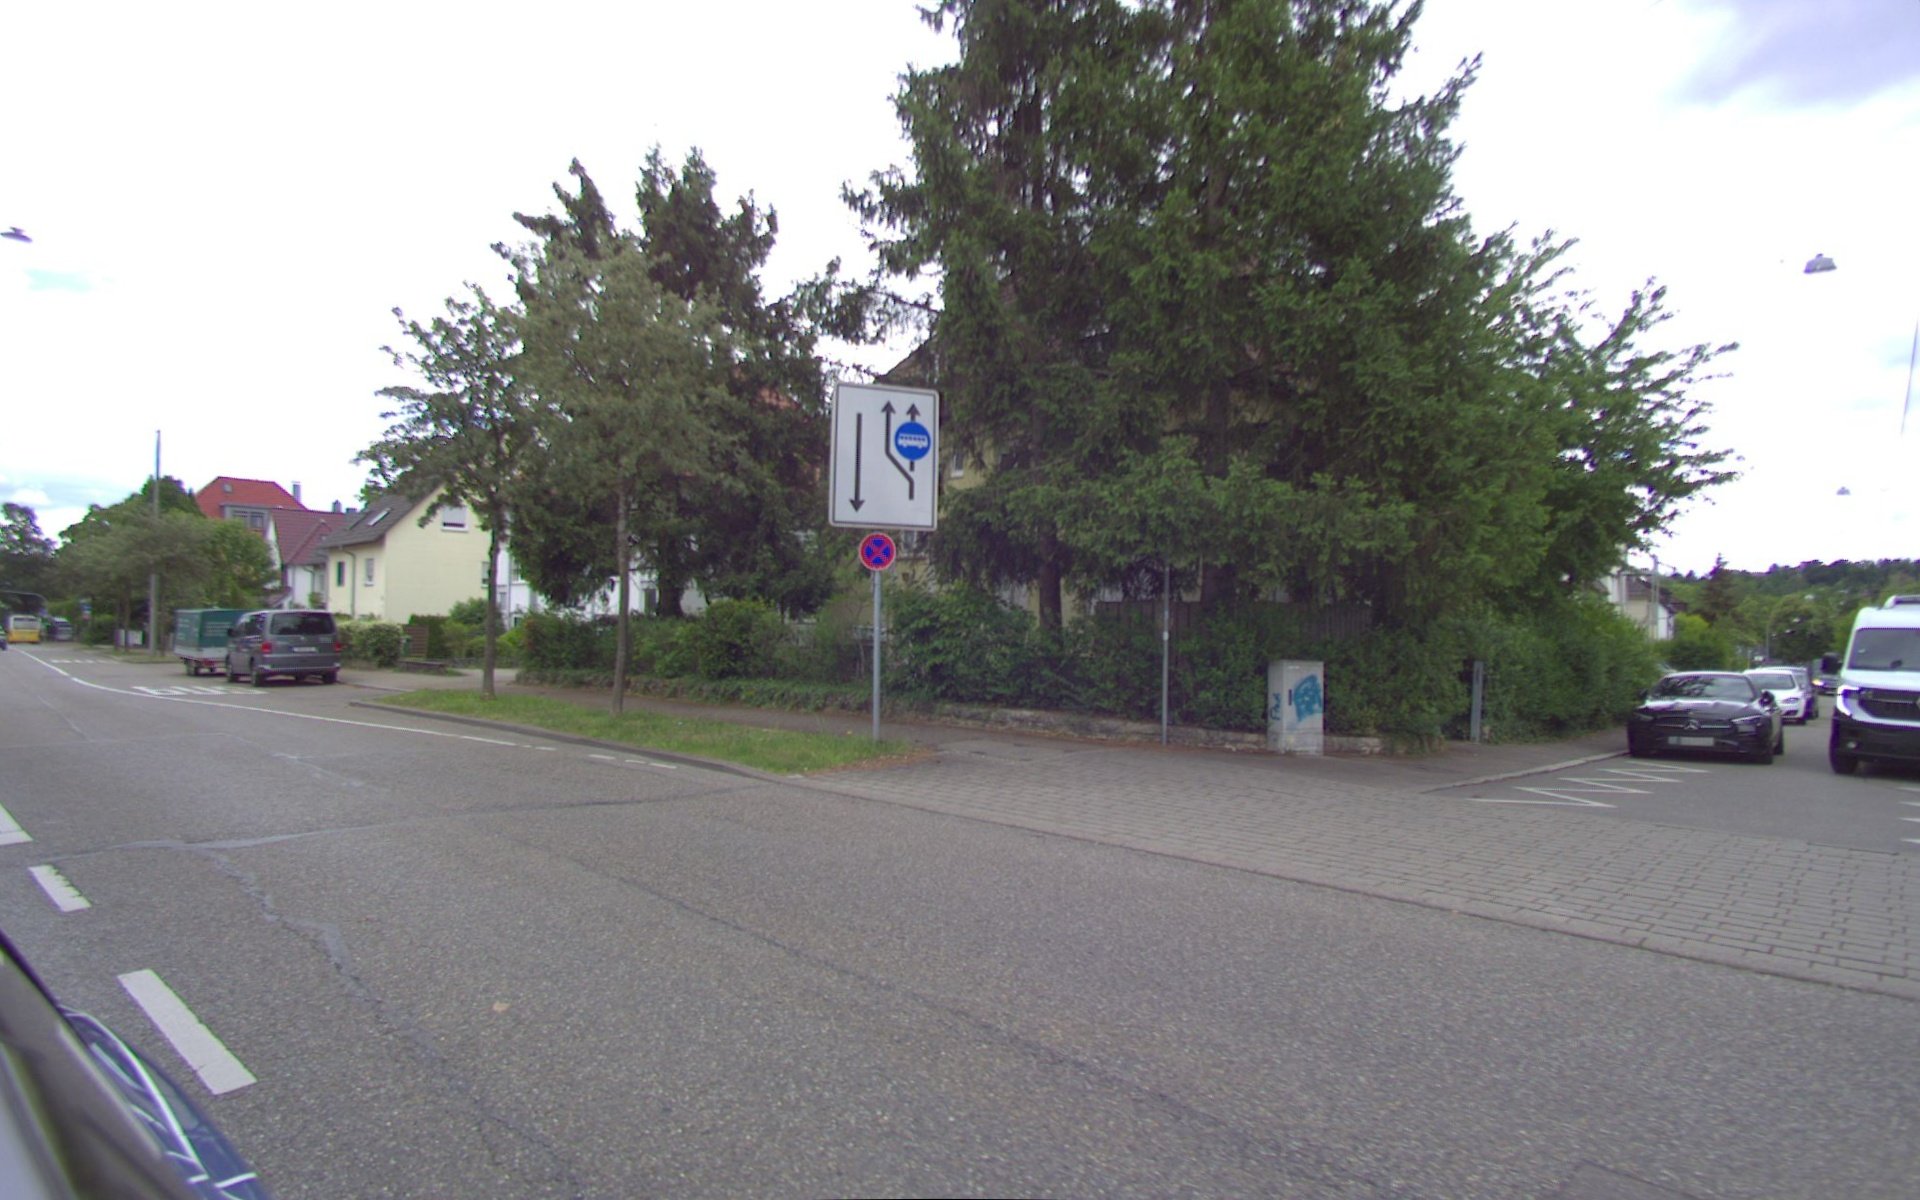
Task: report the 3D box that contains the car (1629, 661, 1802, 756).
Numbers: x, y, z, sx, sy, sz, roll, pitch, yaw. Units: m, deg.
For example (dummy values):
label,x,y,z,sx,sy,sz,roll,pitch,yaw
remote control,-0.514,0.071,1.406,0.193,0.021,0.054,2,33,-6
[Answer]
label,x,y,z,sx,sy,sz,roll,pitch,yaw
car,12.540,1.727,16.706,1.797,1.364,4.074,-3,-6,43

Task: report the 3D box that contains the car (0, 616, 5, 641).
label,x,y,z,sx,sy,sz,roll,pitch,yaw
car,-64.257,1.853,66.732,1.799,1.616,4.302,2,-3,-44

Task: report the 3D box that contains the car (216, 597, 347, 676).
label,x,y,z,sx,sy,sz,roll,pitch,yaw
car,-18.594,0.973,27.636,4.899,1.964,1.971,-1,-3,44

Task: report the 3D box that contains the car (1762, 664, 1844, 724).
label,x,y,z,sx,sy,sz,roll,pitch,yaw
car,24.110,2.633,28.914,1.711,1.533,3.407,-1,-3,41

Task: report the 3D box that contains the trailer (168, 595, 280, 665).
label,x,y,z,sx,sy,sz,roll,pitch,yaw
trailer,-23.687,0.972,32.517,4.426,2.104,2.130,-2,-3,44

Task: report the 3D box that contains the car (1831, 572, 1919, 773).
label,x,y,z,sx,sy,sz,roll,pitch,yaw
car,14.445,1.088,14.853,2.132,2.583,5.540,0,-3,45
